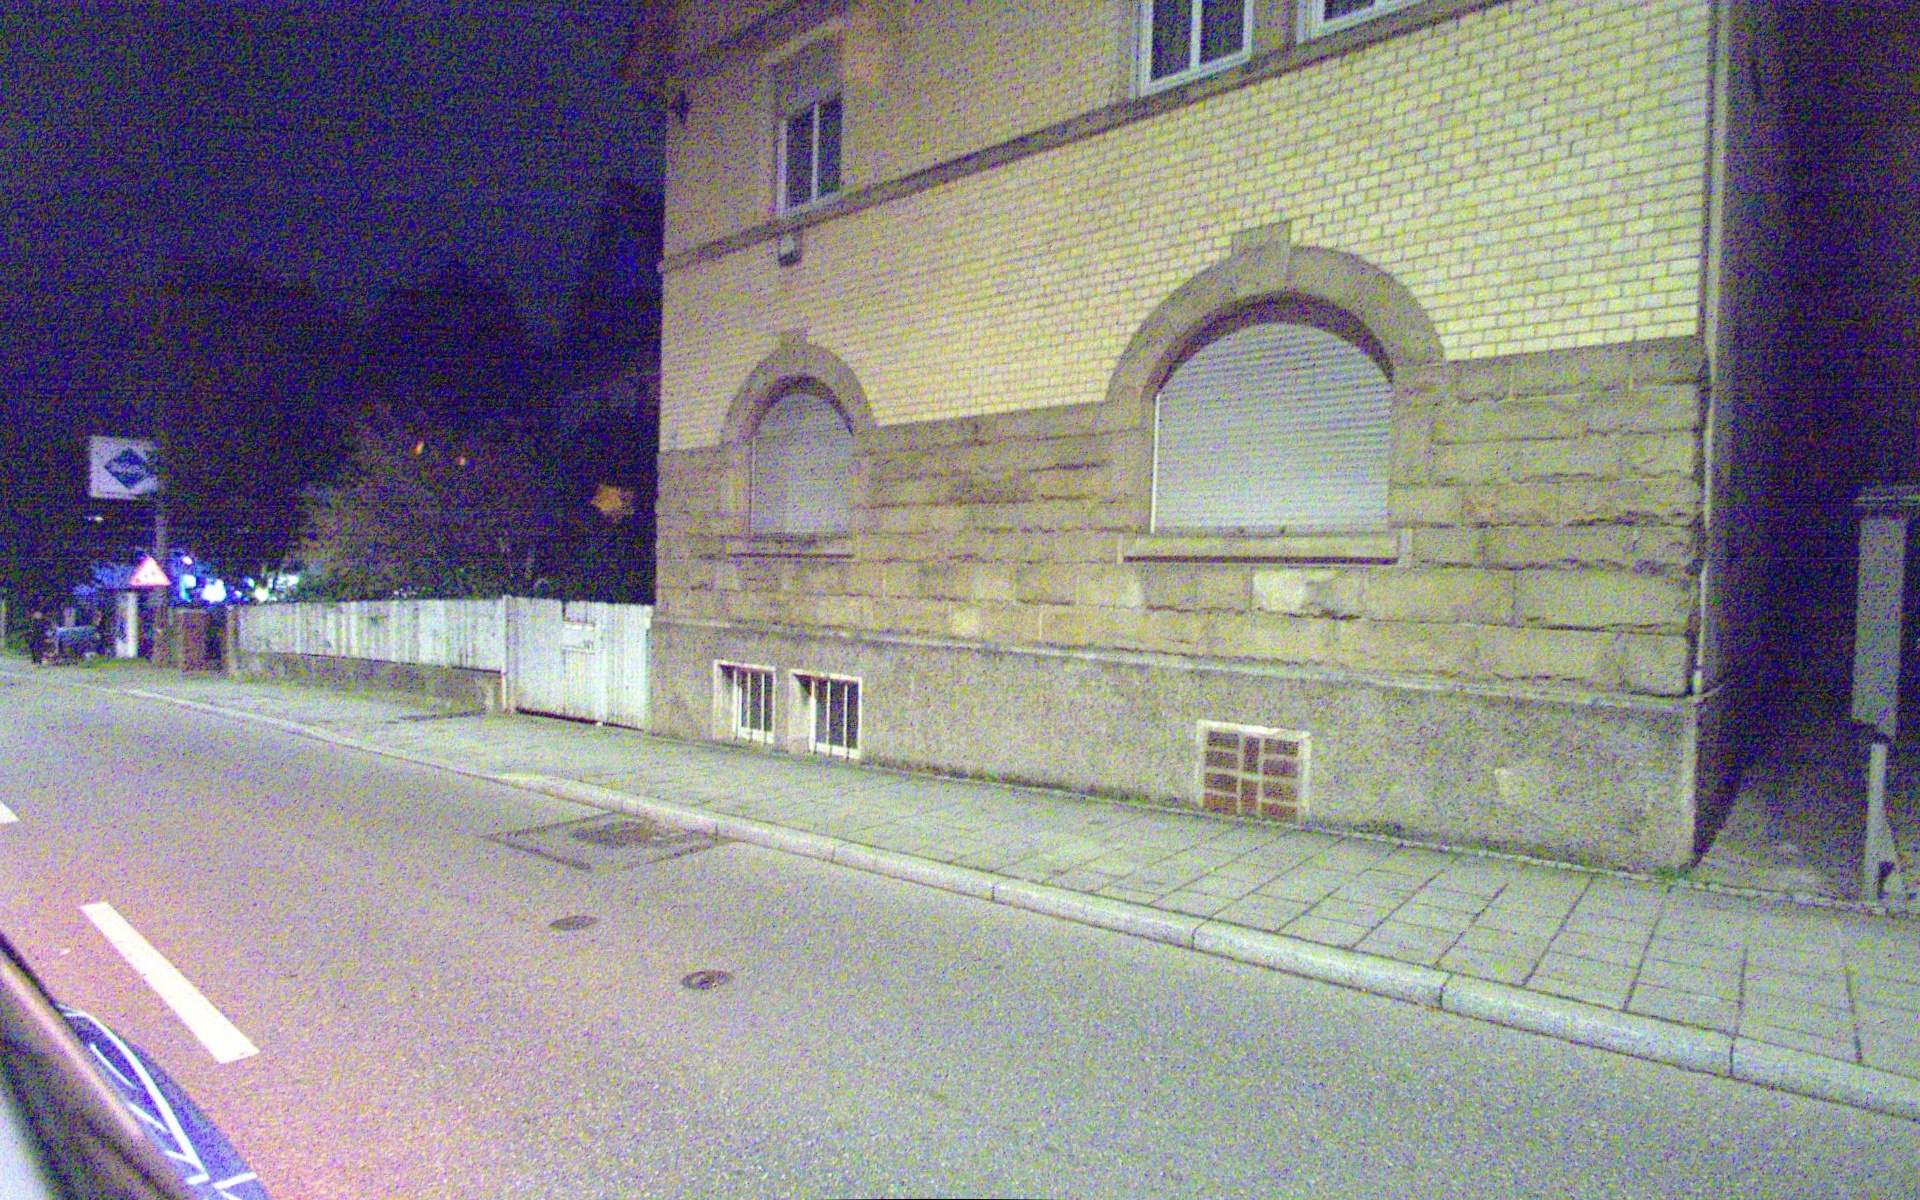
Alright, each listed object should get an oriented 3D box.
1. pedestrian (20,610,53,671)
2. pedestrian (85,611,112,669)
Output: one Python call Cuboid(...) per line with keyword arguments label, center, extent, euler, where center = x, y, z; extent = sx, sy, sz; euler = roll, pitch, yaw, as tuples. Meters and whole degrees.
Cuboid(label="pedestrian", center=(-27.242, 1.180, 29.861), extent=(0.500, 1.773, 0.664), euler=(-1, 0, 41))
Cuboid(label="pedestrian", center=(-26.634, 1.218, 31.271), extent=(0.500, 1.773, 0.557), euler=(-1, 0, 41))
